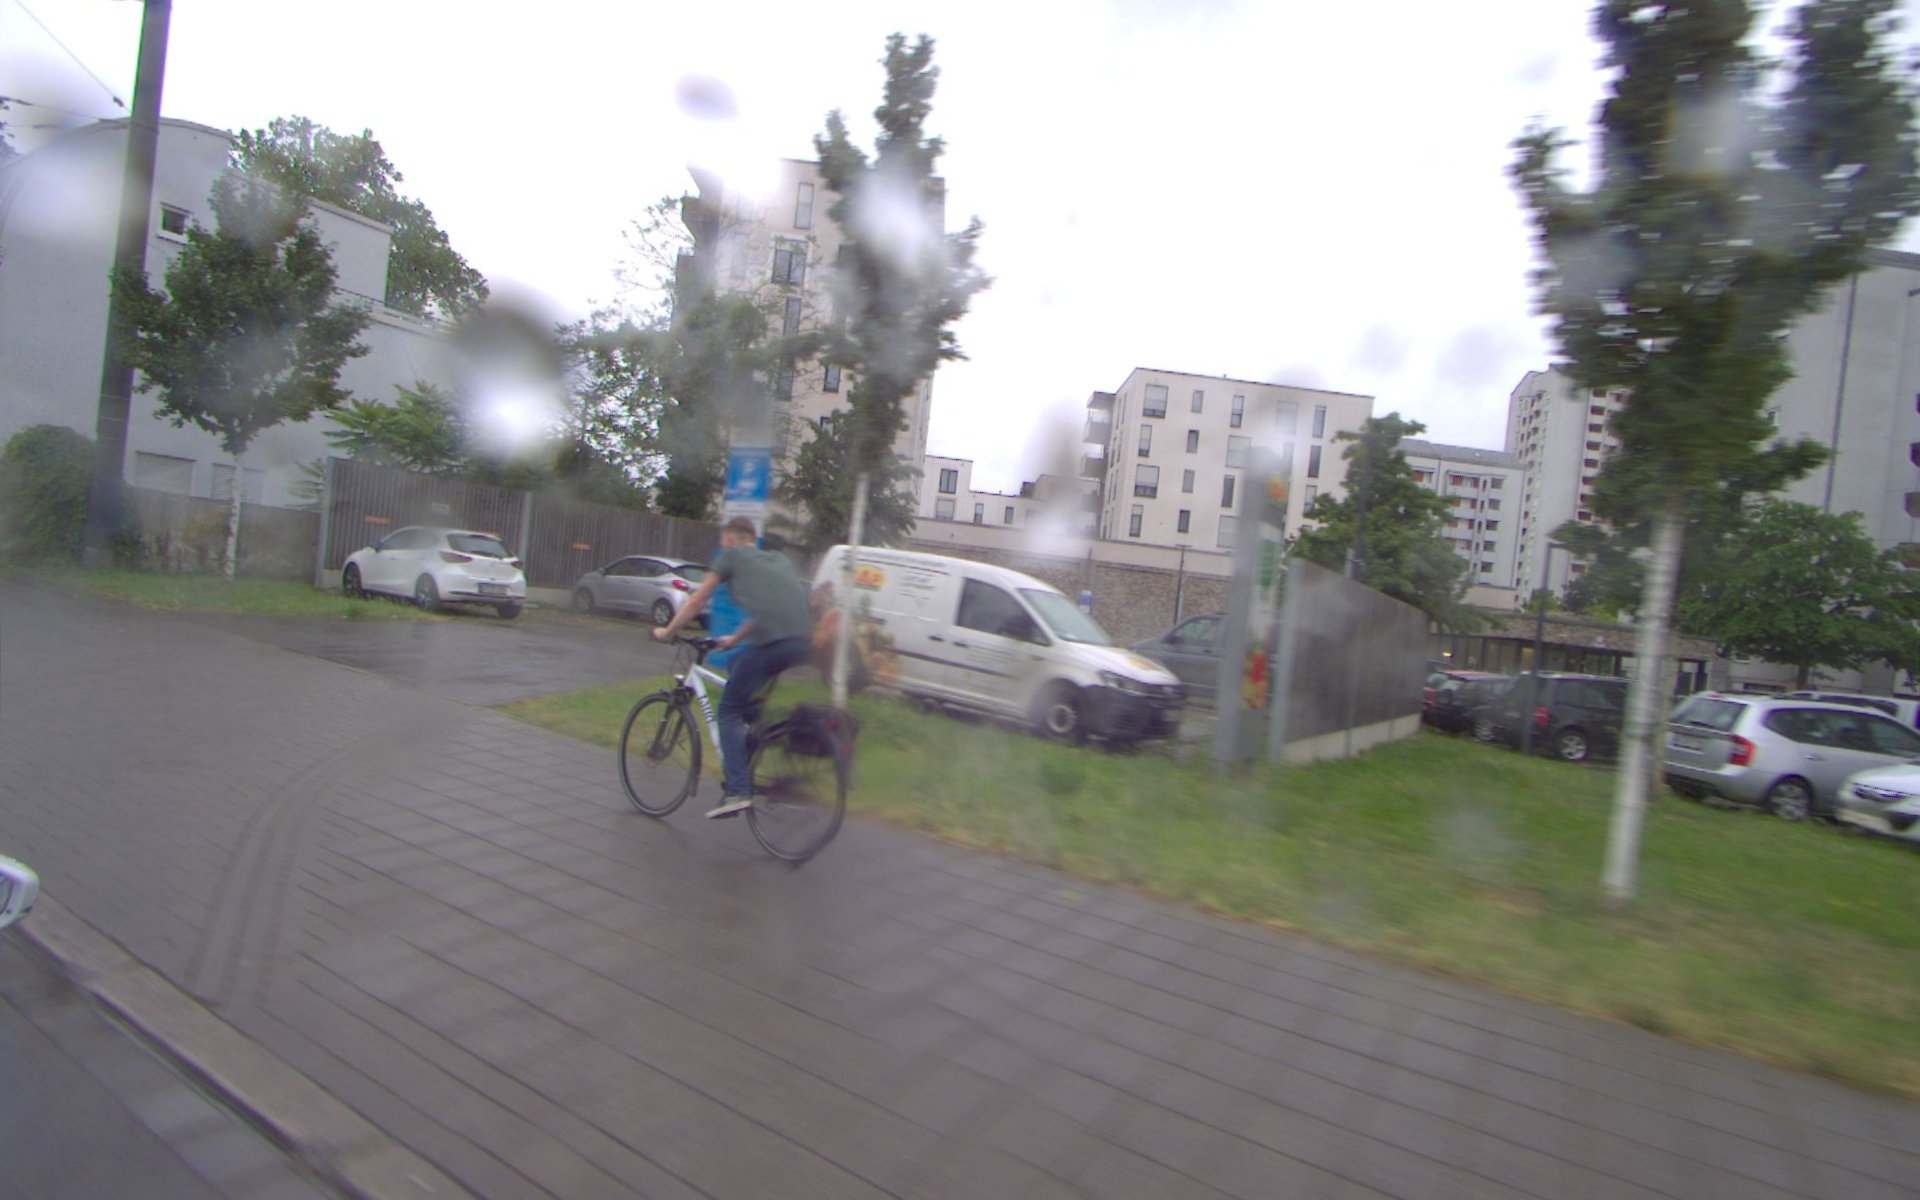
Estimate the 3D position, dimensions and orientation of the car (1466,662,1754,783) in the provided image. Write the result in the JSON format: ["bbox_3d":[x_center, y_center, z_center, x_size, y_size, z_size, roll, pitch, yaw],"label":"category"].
[{"bbox_3d":[12.651,2.357,19.784,4.285,1.629,1.969,8,0,-3],"label":"car"}]

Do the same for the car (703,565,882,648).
[{"bbox_3d":[-4.395,0.151,26.127,4.293,1.553,1.965,7,0,34],"label":"car"}]

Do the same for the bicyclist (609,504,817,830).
[{"bbox_3d":[-1.305,0.333,5.359,0.758,1.578,0.535,6,0,24],"label":"bicyclist"}]

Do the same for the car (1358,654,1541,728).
[{"bbox_3d":[13.274,2.452,27.467,3.925,1.458,2.001,6,-1,1],"label":"car"}]

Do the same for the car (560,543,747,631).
[{"bbox_3d":[-6.985,-0.294,22.962,3.599,1.464,1.968,7,0,27],"label":"car"}]

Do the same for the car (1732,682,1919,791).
[{"bbox_3d":[20.402,3.104,22.997,1.959,1.941,4.278,8,-1,-1],"label":"car"}]

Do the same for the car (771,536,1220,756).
[{"bbox_3d":[0.294,0.437,11.838,4.818,1.805,1.965,7,0,34],"label":"car"}]

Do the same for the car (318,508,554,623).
[{"bbox_3d":[-9.745,-0.663,18.626,4.293,1.553,1.965,7,0,34],"label":"car"}]

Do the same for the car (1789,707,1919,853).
[{"bbox_3d":[12.494,2.263,11.674,3.924,1.458,2.001,6,-1,3],"label":"car"}]

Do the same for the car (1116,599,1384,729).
[{"bbox_3d":[5.821,1.241,20.425,4.702,1.892,1.965,7,0,34],"label":"car"}]

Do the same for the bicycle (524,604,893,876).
[{"bbox_3d":[-1.376,0.679,5.380,1.914,1.106,0.537,6,0,25],"label":"bicycle"}]

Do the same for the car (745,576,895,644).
[{"bbox_3d":[-4.449,0.329,32.305,4.281,1.553,1.971,8,0,5],"label":"car"}]

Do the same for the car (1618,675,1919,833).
[{"bbox_3d":[12.097,2.195,14.151,4.285,1.606,1.969,8,0,-3],"label":"car"}]
